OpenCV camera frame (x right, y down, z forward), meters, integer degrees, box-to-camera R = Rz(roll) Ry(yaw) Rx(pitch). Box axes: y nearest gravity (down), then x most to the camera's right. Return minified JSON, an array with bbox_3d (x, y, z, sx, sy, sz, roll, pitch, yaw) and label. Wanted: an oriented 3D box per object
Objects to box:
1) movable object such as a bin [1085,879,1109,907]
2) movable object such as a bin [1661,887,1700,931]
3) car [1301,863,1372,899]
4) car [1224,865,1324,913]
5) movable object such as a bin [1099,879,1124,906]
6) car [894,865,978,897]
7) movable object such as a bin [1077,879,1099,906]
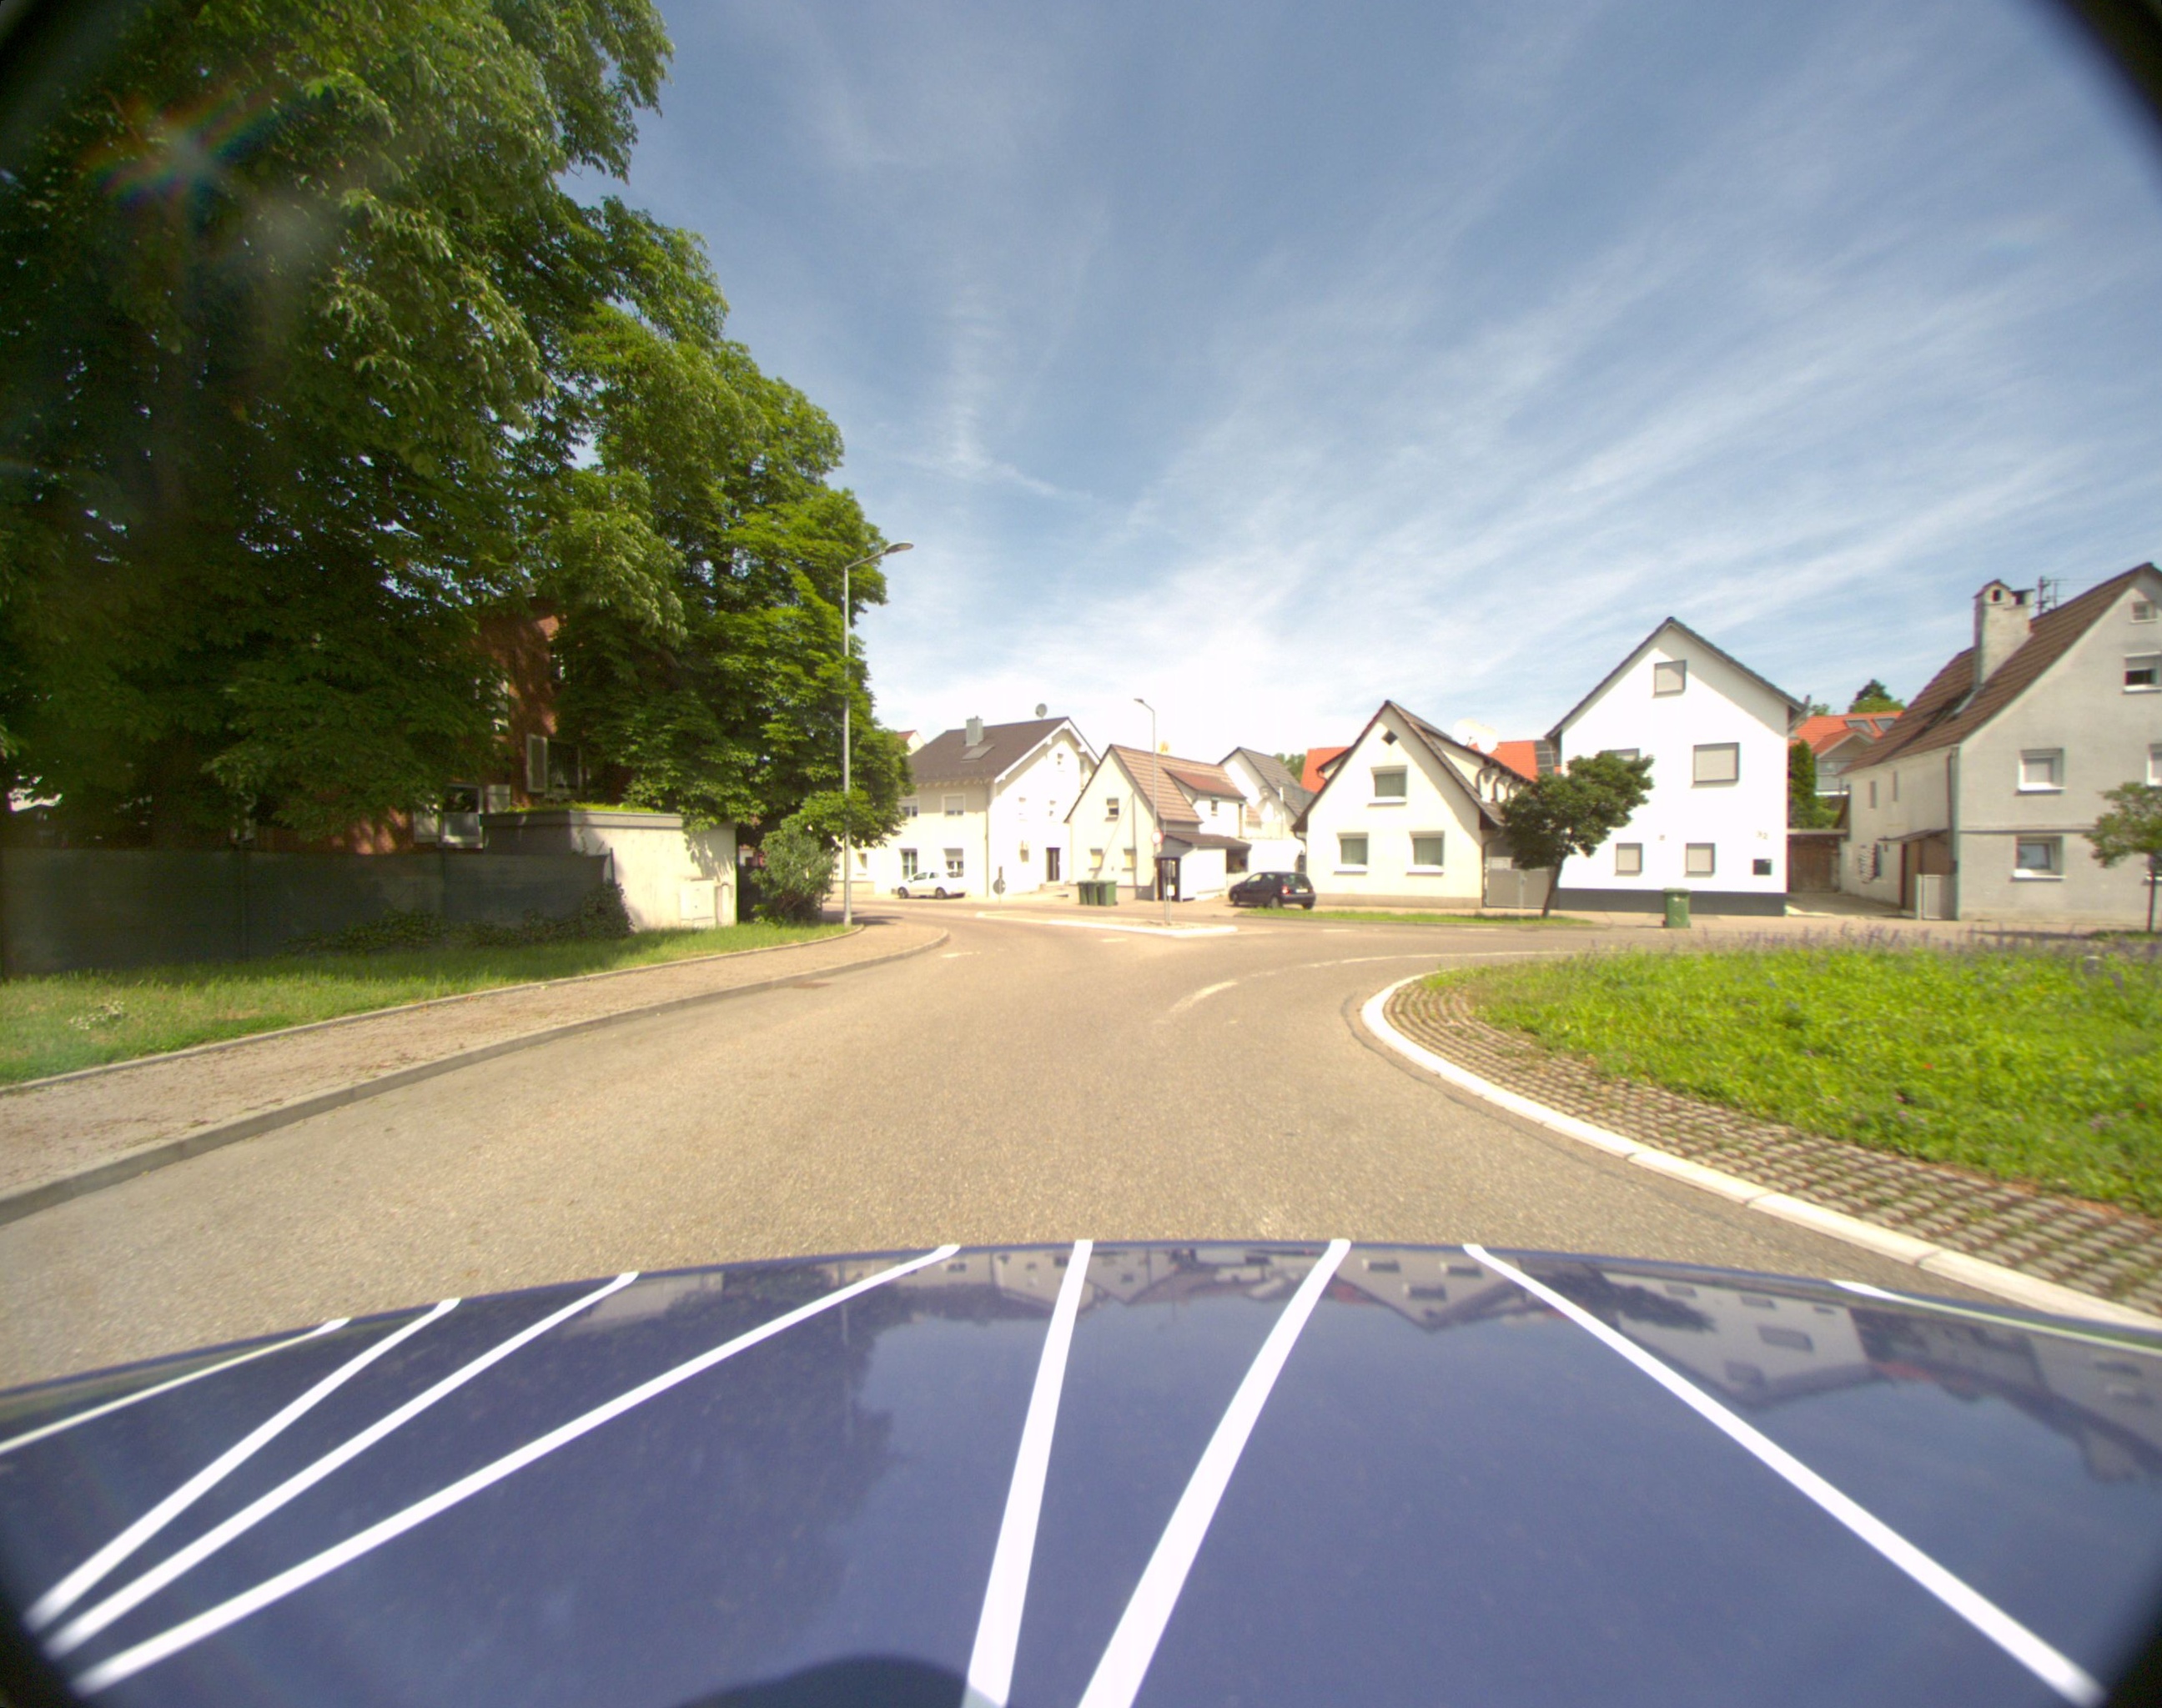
[{"bbox_3d":[0.665,1.614,31.677,0.734,1.071,0.631,-4,2,-44],"label":"movable object such as a bin"},{"bbox_3d":[15.257,1.385,19.345,0.578,1.042,0.905,0,-1,25],"label":"movable object such as a bin"},{"bbox_3d":[12.374,1.256,36.673,1.994,1.635,3.880,-1,-1,39],"label":"car"},{"bbox_3d":[7.194,1.265,28.690,1.780,1.433,3.839,-3,2,-21],"label":"car"},{"bbox_3d":[1.245,1.577,31.234,0.684,1.071,0.723,-4,2,-44],"label":"movable object such as a bin"},{"bbox_3d":[-7.496,1.393,39.241,3.989,1.494,1.829,-1,2,30],"label":"car"},{"bbox_3d":[0.311,1.621,32.295,0.644,1.087,0.630,-4,2,-44],"label":"movable object such as a bin"}]
